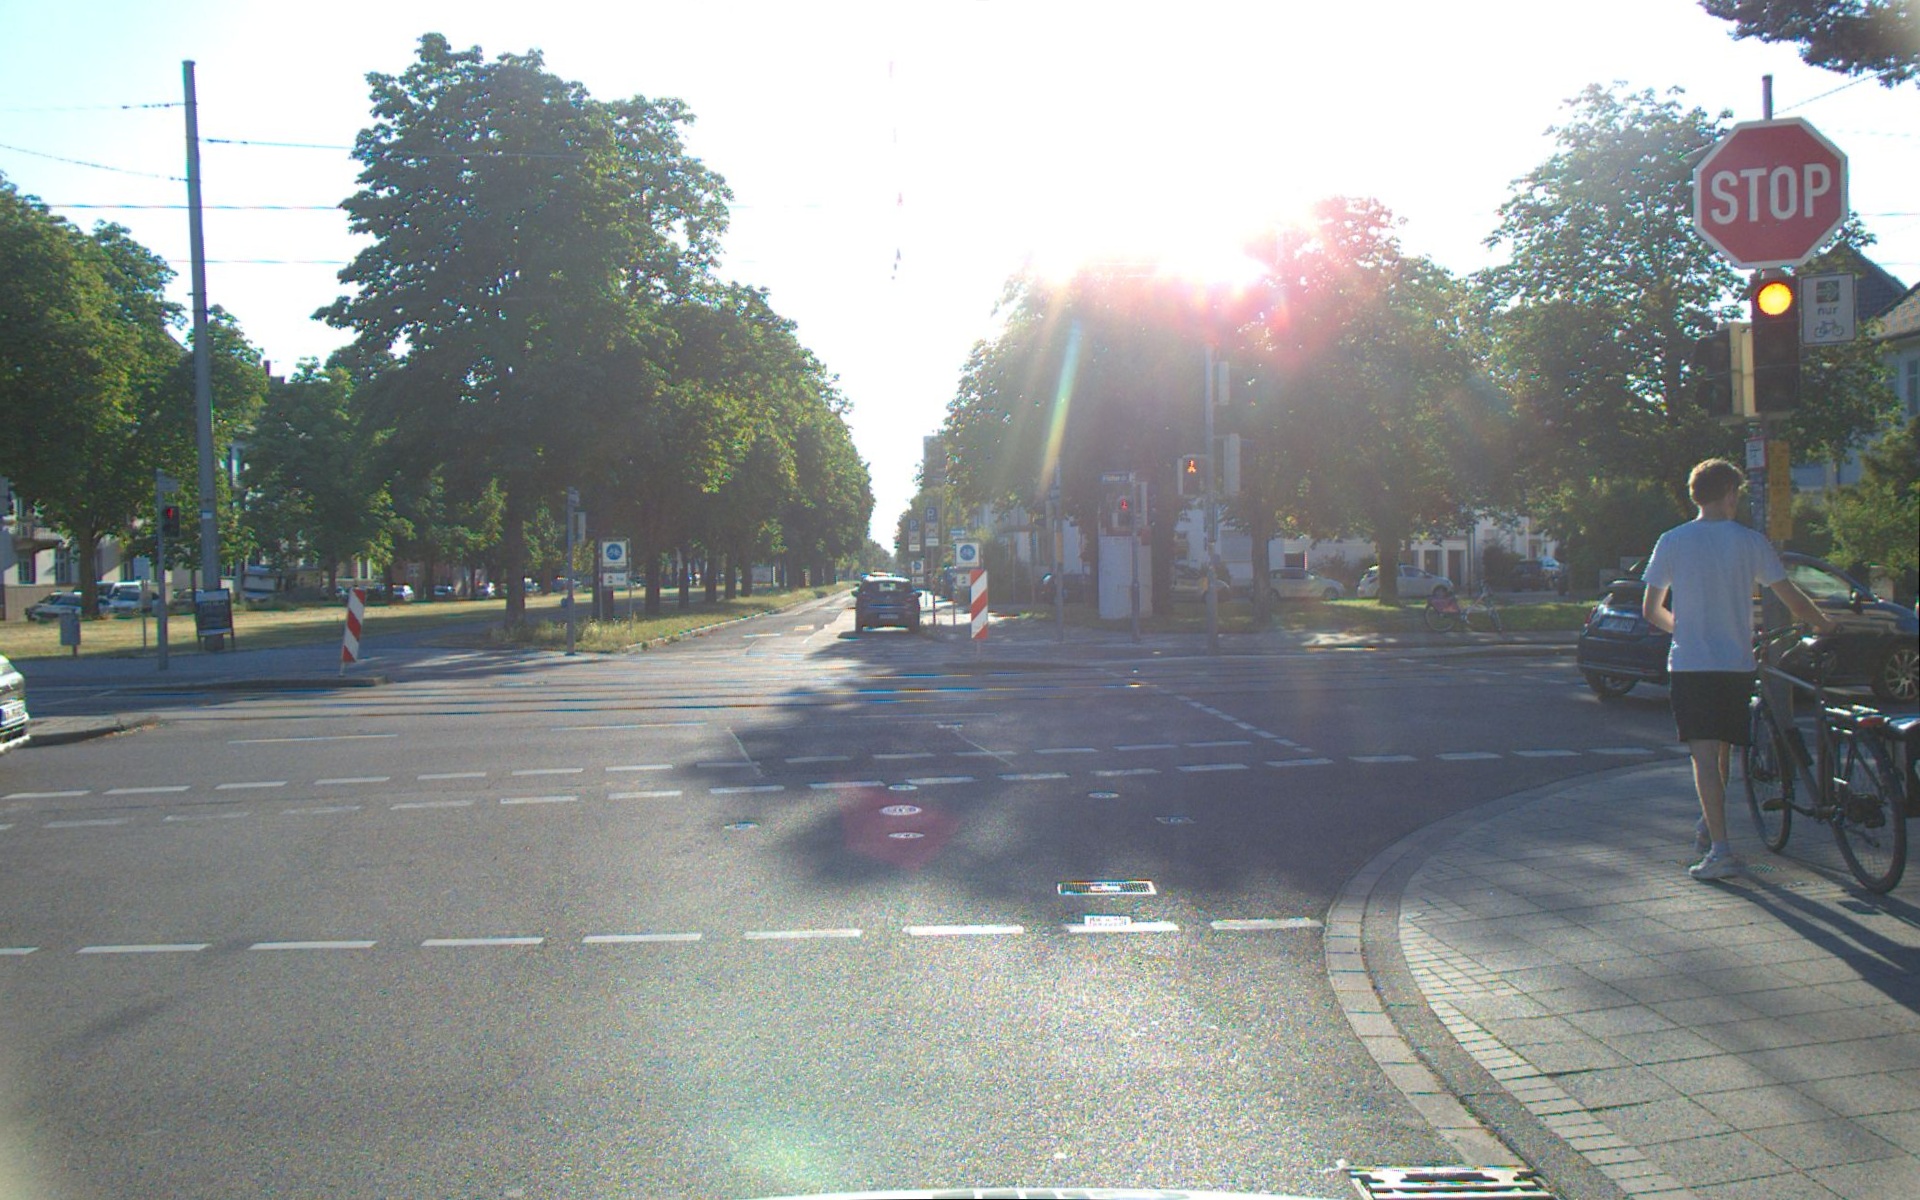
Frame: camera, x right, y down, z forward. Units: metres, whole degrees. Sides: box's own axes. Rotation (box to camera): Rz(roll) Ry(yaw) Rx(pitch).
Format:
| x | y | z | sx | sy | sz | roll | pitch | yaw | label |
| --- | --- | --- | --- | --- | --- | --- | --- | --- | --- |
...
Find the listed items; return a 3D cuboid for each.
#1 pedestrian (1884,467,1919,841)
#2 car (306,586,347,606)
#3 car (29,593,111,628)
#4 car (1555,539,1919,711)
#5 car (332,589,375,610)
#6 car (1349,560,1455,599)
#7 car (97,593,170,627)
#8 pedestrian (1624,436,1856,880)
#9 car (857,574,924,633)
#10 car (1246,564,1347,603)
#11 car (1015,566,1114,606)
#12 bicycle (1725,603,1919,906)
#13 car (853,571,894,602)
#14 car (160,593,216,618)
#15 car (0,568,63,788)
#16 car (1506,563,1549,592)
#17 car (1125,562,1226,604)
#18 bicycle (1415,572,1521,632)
| x | y | z | sx | sy | sz | roll | pitch | yaw | label |
| --- | --- | --- | --- | --- | --- | --- | --- | --- | --- |
| 4.695 | 0.240 | 7.509 | 0.655 | 1.737 | 0.623 | -4 | 1 | 17 | pedestrian |
| -48.055 | -0.315 | 125.504 | 1.703 | 1.452 | 3.791 | -1 | 1 | -2 | car |
| -40.065 | 0.435 | 74.538 | 1.703 | 1.452 | 3.791 | -1 | 1 | -2 | car |
| 8.031 | 0.196 | 16.658 | 3.534 | 1.523 | 1.607 | -2 | 1 | -14 | car |
| -42.293 | -0.041 | 115.397 | 1.703 | 1.452 | 3.791 | -1 | 1 | -2 | car |
| 17.702 | -0.828 | 66.270 | 3.772 | 1.452 | 1.595 | -1 | 1 | -7 | car |
| -40.305 | 0.464 | 80.735 | 1.703 | 1.452 | 3.792 | -1 | 2 | -2 | car |
| 3.574 | 0.248 | 7.648 | 0.656 | 1.897 | 0.883 | -4 | 1 | 11 | pedestrian |
| -1.812 | 0.059 | 43.819 | 1.607 | 1.476 | 3.307 | -1 | 1 | 0 | car |
| 13.295 | -0.671 | 65.430 | 3.593 | 1.452 | 1.529 | -1 | 1 | -7 | car |
| 4.078 | -0.574 | 65.019 | 3.704 | 1.452 | 1.743 | -1 | 2 | -3 | car |
| 4.003 | 0.615 | 7.424 | 0.476 | 1.116 | 1.792 | -3 | 1 | 8 | bicycle |
| -4.038 | -0.641 | 77.944 | 1.808 | 1.418 | 3.828 | 0 | 1 | -2 | car |
| -47.392 | 0.334 | 101.577 | 1.703 | 1.452 | 3.791 | -1 | 1 | -2 | car |
| -9.030 | 0.650 | 12.250 | 3.797 | 1.578 | 1.607 | -3 | 3 | -13 | car |
| 29.045 | -1.152 | 84.573 | 1.631 | 1.442 | 3.539 | -1 | 1 | 27 | car |
| 8.491 | -0.667 | 65.412 | 3.704 | 1.552 | 1.743 | -1 | 2 | -3 | car |
| 10.123 | 0.037 | 32.972 | 1.914 | 1.152 | 0.620 | -1 | 1 | 0 | bicycle |
